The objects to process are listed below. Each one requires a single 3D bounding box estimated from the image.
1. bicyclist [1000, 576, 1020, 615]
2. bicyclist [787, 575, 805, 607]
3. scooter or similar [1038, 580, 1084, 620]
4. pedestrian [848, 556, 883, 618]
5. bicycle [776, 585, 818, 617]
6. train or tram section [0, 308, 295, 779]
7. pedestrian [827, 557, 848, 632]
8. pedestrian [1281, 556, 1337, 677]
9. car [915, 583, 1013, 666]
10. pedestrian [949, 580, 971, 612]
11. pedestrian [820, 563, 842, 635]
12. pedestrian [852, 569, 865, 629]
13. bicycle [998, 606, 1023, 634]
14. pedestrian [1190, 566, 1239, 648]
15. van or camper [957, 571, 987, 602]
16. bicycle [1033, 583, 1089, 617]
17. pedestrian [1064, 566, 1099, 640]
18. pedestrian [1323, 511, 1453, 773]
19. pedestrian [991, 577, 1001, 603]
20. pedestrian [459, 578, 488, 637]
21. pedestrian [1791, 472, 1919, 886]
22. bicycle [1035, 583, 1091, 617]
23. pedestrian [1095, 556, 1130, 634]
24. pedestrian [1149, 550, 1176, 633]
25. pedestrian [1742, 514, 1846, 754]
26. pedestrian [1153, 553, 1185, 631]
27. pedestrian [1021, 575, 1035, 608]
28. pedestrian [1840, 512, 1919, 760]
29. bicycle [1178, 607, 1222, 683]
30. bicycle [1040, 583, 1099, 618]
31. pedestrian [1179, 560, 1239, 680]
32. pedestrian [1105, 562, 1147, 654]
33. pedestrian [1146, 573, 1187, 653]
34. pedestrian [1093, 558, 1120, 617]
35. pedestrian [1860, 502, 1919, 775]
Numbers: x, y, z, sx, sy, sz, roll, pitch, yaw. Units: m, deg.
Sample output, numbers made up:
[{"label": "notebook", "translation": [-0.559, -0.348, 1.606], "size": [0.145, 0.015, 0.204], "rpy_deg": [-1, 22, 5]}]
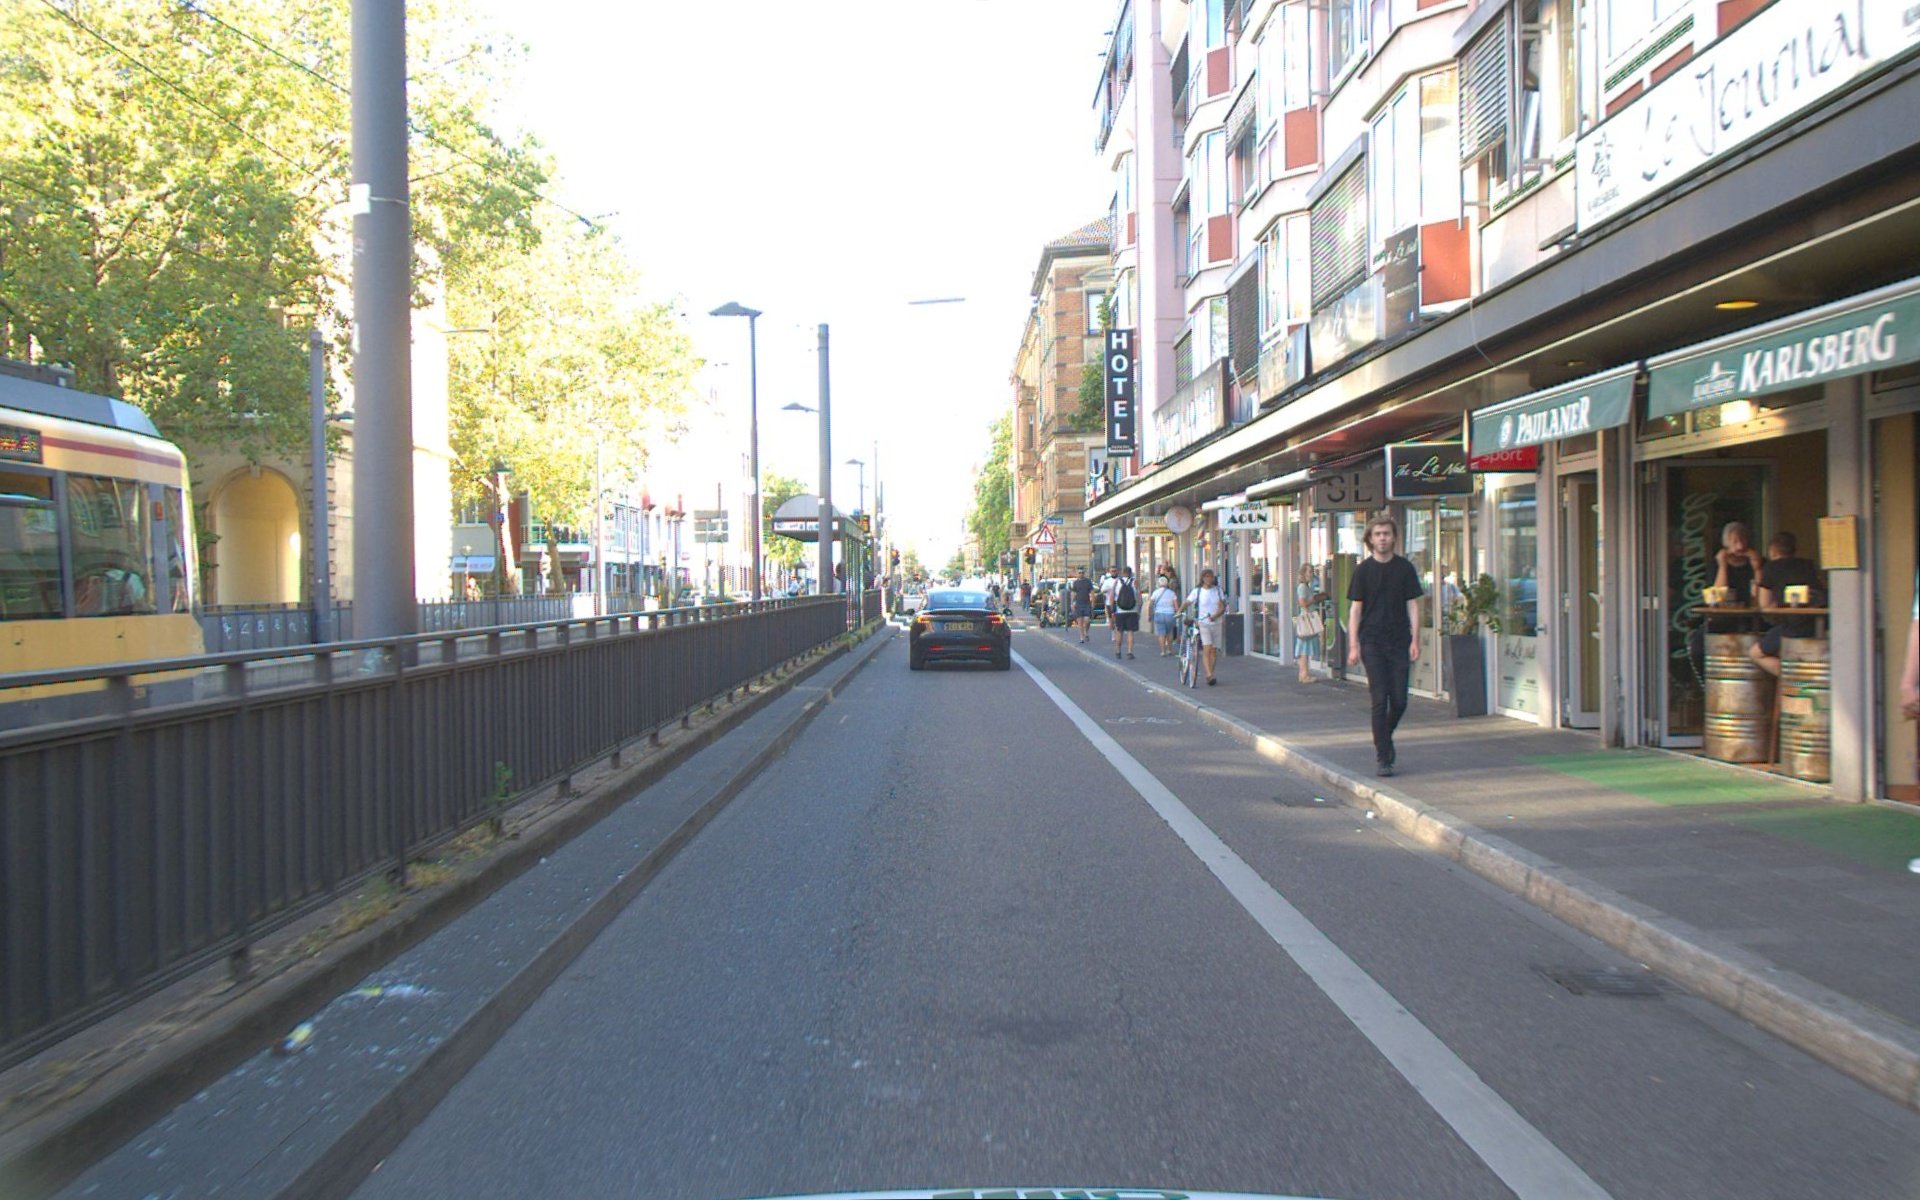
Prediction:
[{"label": "bicyclist", "translation": [2.172, -0.208, 71.540], "size": [0.643, 1.684, 0.925], "rpy_deg": [-1, 0, -11]}, {"label": "bicyclist", "translation": [-7.881, -0.429, 79.666], "size": [0.672, 1.543, 0.628], "rpy_deg": [0, 1, -30]}, {"label": "scooter or similar", "translation": [3.369, -0.002, 55.350], "size": [1.448, 1.250, 0.591], "rpy_deg": [-3, 0, -1]}, {"label": "pedestrian", "translation": [-2.877, -0.400, 50.344], "size": [0.762, 1.863, 0.796], "rpy_deg": [1, 0, -31]}, {"label": "bicycle", "translation": [-7.862, 0.045, 79.679], "size": [1.928, 1.543, 0.628], "rpy_deg": [-1, 1, -30]}, {"label": "train or tram section", "translation": [-9.003, -0.397, 10.635], "size": [2.913, 3.708, 16.485], "rpy_deg": [0, 1, 0]}, {"label": "pedestrian", "translation": [-2.657, -0.122, 35.892], "size": [0.415, 1.601, 0.448], "rpy_deg": [-1, 0, -1]}, {"label": "pedestrian", "translation": [4.781, 0.219, 22.659], "size": [0.588, 1.617, 0.553], "rpy_deg": [-2, 1, -1]}, {"label": "car", "translation": [0.022, 0.404, 30.377], "size": [1.685, 1.430, 3.709], "rpy_deg": [0, 1, -2]}, {"label": "pedestrian", "translation": [0.004, -0.208, 83.178], "size": [0.826, 1.575, 0.698], "rpy_deg": [-1, 1, 27]}, {"label": "pedestrian", "translation": [-2.879, -0.025, 36.973], "size": [0.415, 1.601, 0.592], "rpy_deg": [-1, 0, -1]}, {"label": "pedestrian", "translation": [-2.911, -0.035, 47.375], "size": [0.344, 1.698, 0.529], "rpy_deg": [-1, 0, -2]}, {"label": "bicycle", "translation": [2.180, 0.862, 71.578], "size": [0.636, 1.159, 2.090], "rpy_deg": [0, 0, -11]}, {"label": "pedestrian", "translation": [4.781, 0.126, 31.133], "size": [0.723, 1.497, 0.707], "rpy_deg": [-4, 0, 0]}, {"label": "van or camper", "translation": [0.800, -0.889, 111.690], "size": [1.892, 2.072, 5.474], "rpy_deg": [0, 0, -1]}, {"label": "bicycle", "translation": [3.579, -0.002, 58.685], "size": [1.906, 1.126, 0.564], "rpy_deg": [-2, 1, -3]}, {"label": "pedestrian", "translation": [2.958, 0.064, 40.284], "size": [0.654, 1.758, 0.810], "rpy_deg": [-4, 0, -1]}, {"label": "pedestrian", "translation": [3.256, 0.302, 12.654], "size": [0.661, 1.893, 0.992], "rpy_deg": [-3, 0, 1]}, {"label": "pedestrian", "translation": [2.690, -0.740, 122.399], "size": [0.659, 1.845, 0.756], "rpy_deg": [-1, 0, -2]}, {"label": "pedestrian", "translation": [-17.079, 0.250, 58.091], "size": [0.686, 2.049, 0.689], "rpy_deg": [0, 0, 20]}, {"label": "pedestrian", "translation": [4.598, 0.319, 7.654], "size": [0.888, 1.806, 1.050], "rpy_deg": [-3, 1, -1]}, {"label": "bicycle", "translation": [3.617, 0.001, 58.038], "size": [1.906, 1.126, 0.564], "rpy_deg": [-2, 1, -3]}, {"label": "pedestrian", "translation": [3.737, -0.138, 40.587], "size": [0.691, 1.851, 0.763], "rpy_deg": [-4, 0, -1]}, {"label": "pedestrian", "translation": [4.674, -0.195, 38.216], "size": [0.442, 1.881, 0.811], "rpy_deg": [-2, 1, -1]}, {"label": "pedestrian", "translation": [5.836, 0.229, 11.589], "size": [0.446, 1.631, 0.529], "rpy_deg": [-1, 1, -1]}, {"label": "pedestrian", "translation": [4.900, -0.185, 38.823], "size": [0.616, 1.800, 0.501], "rpy_deg": [-2, 0, 0]}, {"label": "pedestrian", "translation": [3.672, -0.467, 89.555], "size": [0.461, 1.758, 0.586], "rpy_deg": [-1, 1, 35]}, {"label": "pedestrian", "translation": [6.297, 0.234, 11.159], "size": [0.446, 1.631, 0.464], "rpy_deg": [-1, 1, -1]}, {"label": "bicycle", "translation": [3.428, 0.619, 23.673], "size": [0.296, 1.007, 1.760], "rpy_deg": [-2, 1, -1]}, {"label": "bicycle", "translation": [3.700, 0.003, 56.010], "size": [1.906, 1.126, 0.564], "rpy_deg": [-2, 1, -3]}, {"label": "pedestrian", "translation": [3.574, 0.279, 23.758], "size": [0.649, 1.659, 0.705], "rpy_deg": [-3, 1, -2]}, {"label": "pedestrian", "translation": [3.208, 0.153, 32.063], "size": [0.729, 1.757, 0.814], "rpy_deg": [0, 0, 0]}, {"label": "pedestrian", "translation": [4.027, 0.253, 32.292], "size": [0.623, 1.509, 0.654], "rpy_deg": [-4, 0, -2]}, {"label": "pedestrian", "translation": [5.213, -0.432, 58.792], "size": [0.701, 2.020, 0.942], "rpy_deg": [-1, -4, 25]}, {"label": "pedestrian", "translation": [6.017, 0.227, 10.335], "size": [0.505, 1.661, 0.522], "rpy_deg": [-1, 1, 4]}]
